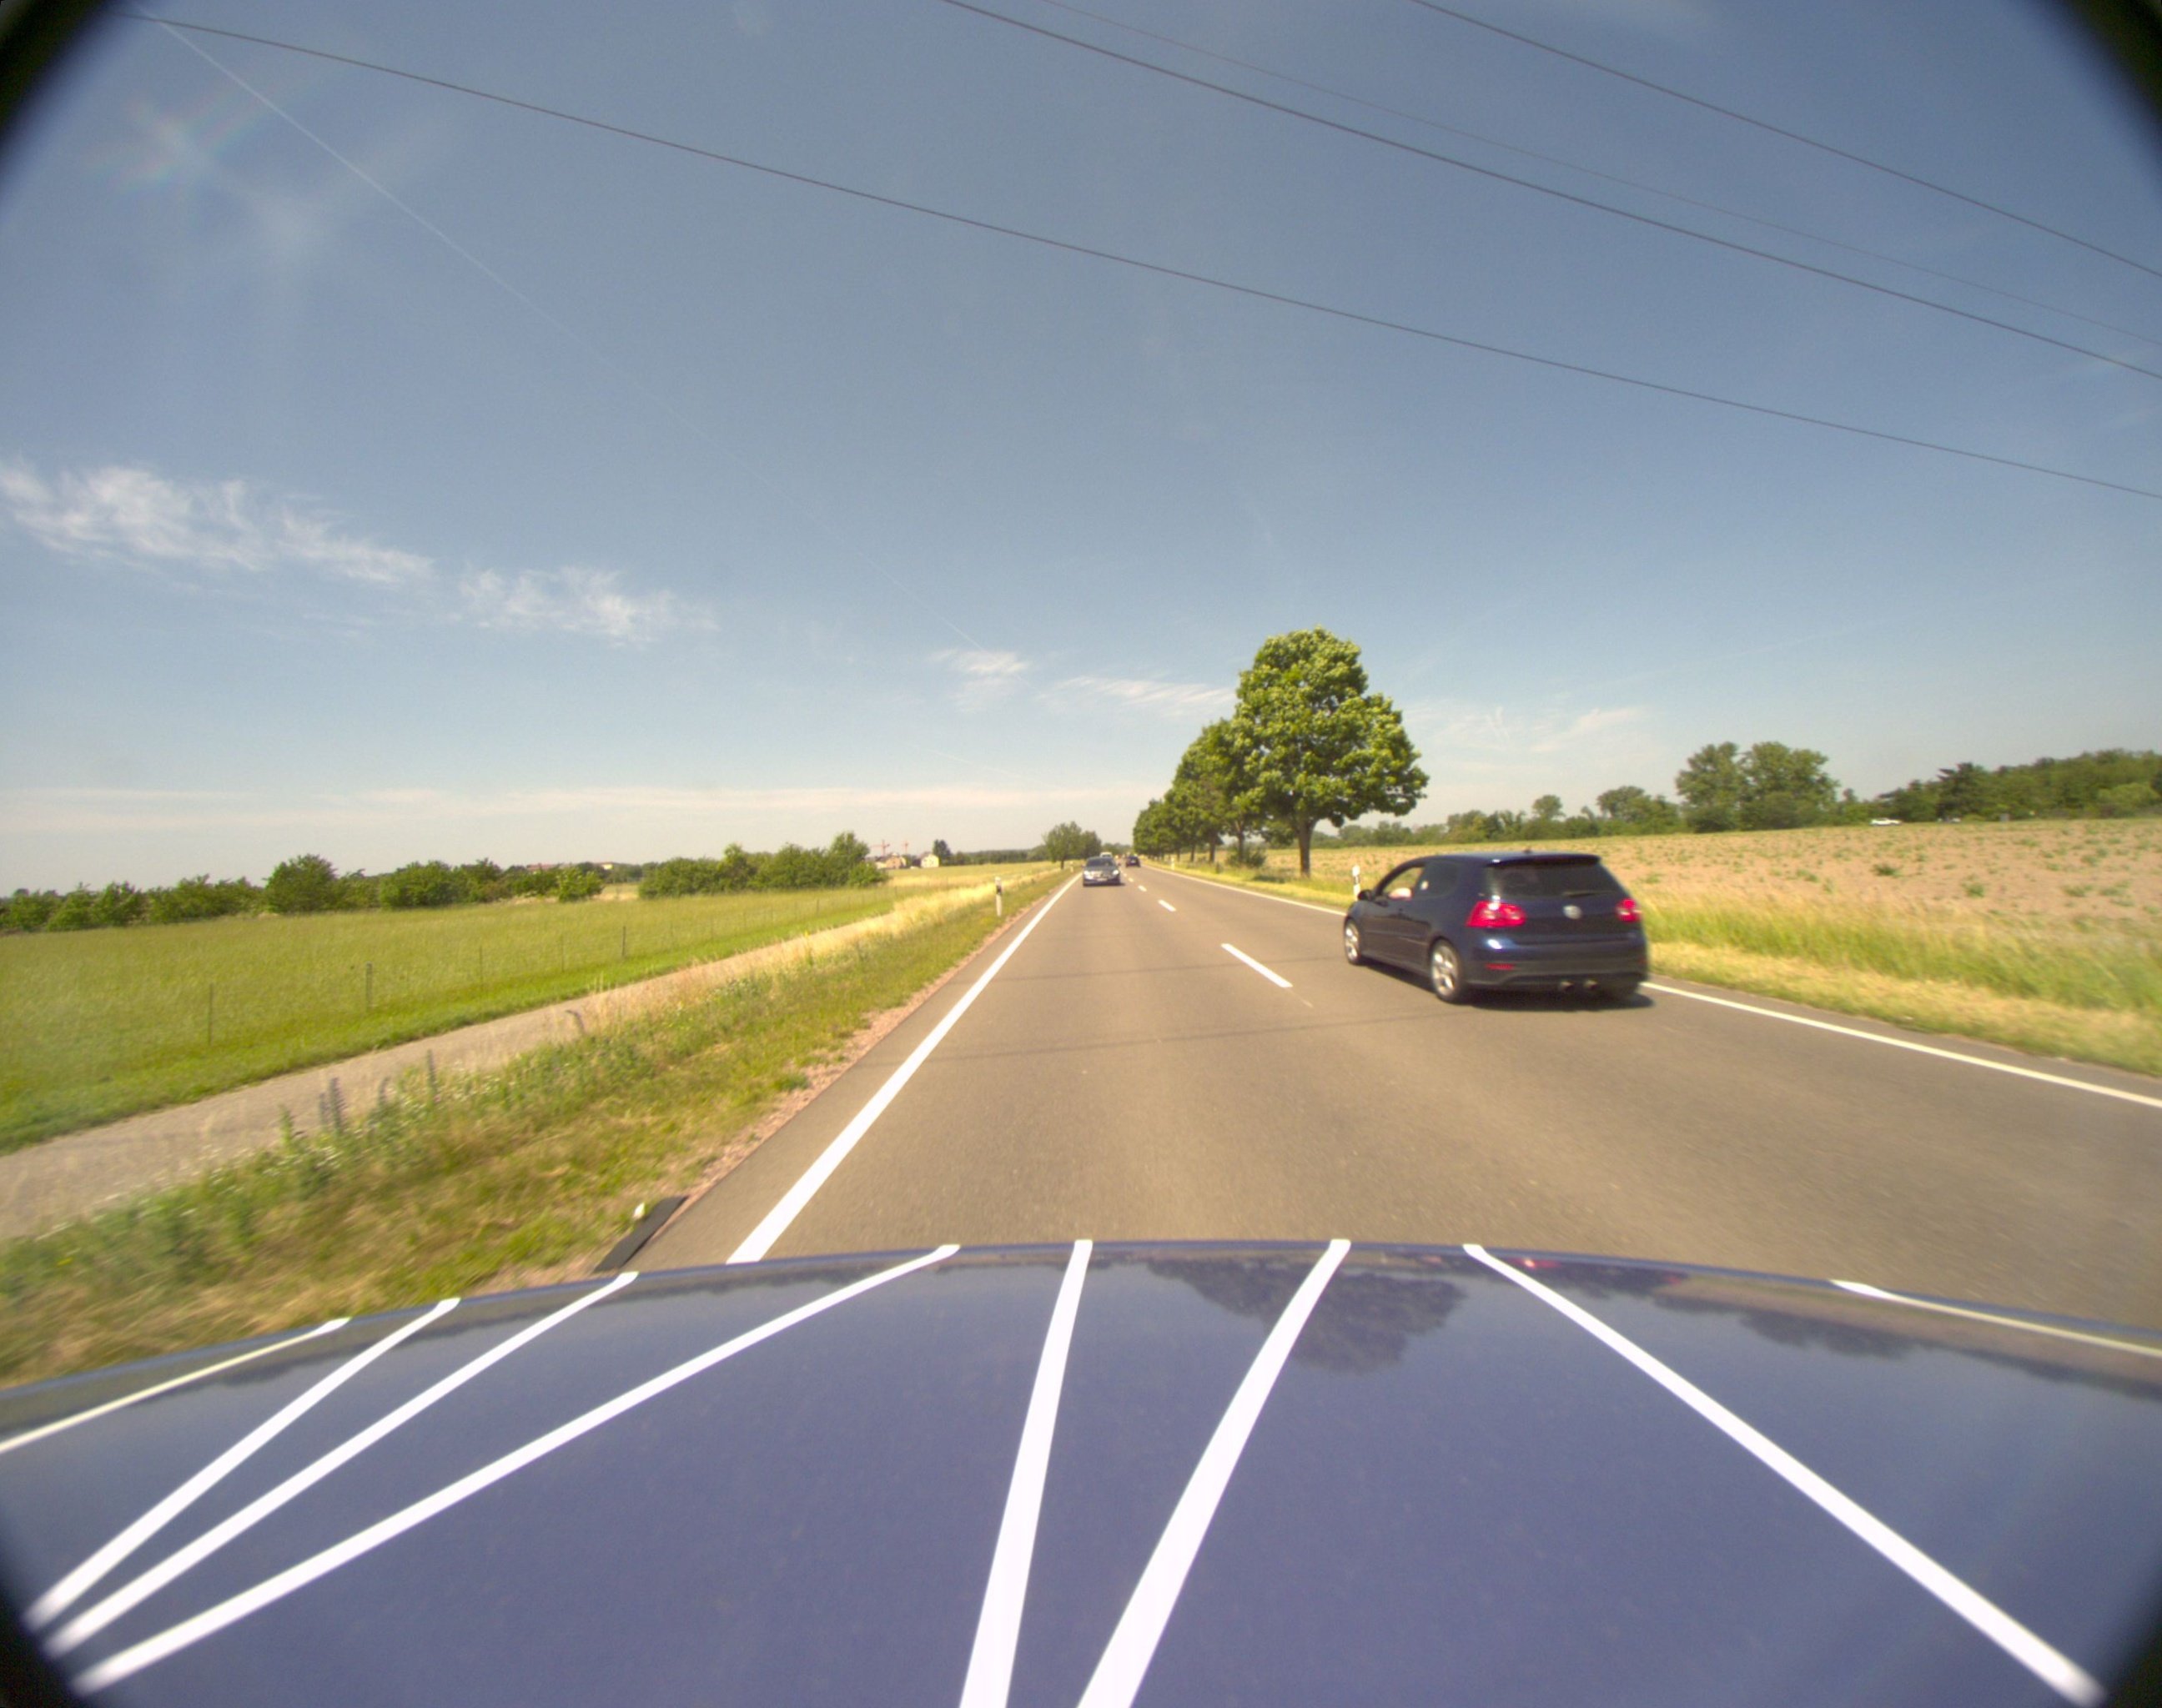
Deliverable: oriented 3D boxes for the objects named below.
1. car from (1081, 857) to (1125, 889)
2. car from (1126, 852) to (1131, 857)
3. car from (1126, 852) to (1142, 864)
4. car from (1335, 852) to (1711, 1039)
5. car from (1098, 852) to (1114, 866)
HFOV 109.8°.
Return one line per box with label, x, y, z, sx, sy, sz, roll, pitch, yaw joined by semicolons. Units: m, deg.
car;1.066;0.890;36.534;1.953;1.390;4.000;-1;0;2
car;15.658;0.154;250.083;1.685;1.838;4.000;-3;0;2
car;6.372;0.509;91.458;1.709;1.325;4.000;-2;1;2
car;4.279;0.746;8.209;1.739;1.439;3.999;-2;1;0
car;3.813;0.746;115.145;1.998;1.907;4.207;-3;0;5
